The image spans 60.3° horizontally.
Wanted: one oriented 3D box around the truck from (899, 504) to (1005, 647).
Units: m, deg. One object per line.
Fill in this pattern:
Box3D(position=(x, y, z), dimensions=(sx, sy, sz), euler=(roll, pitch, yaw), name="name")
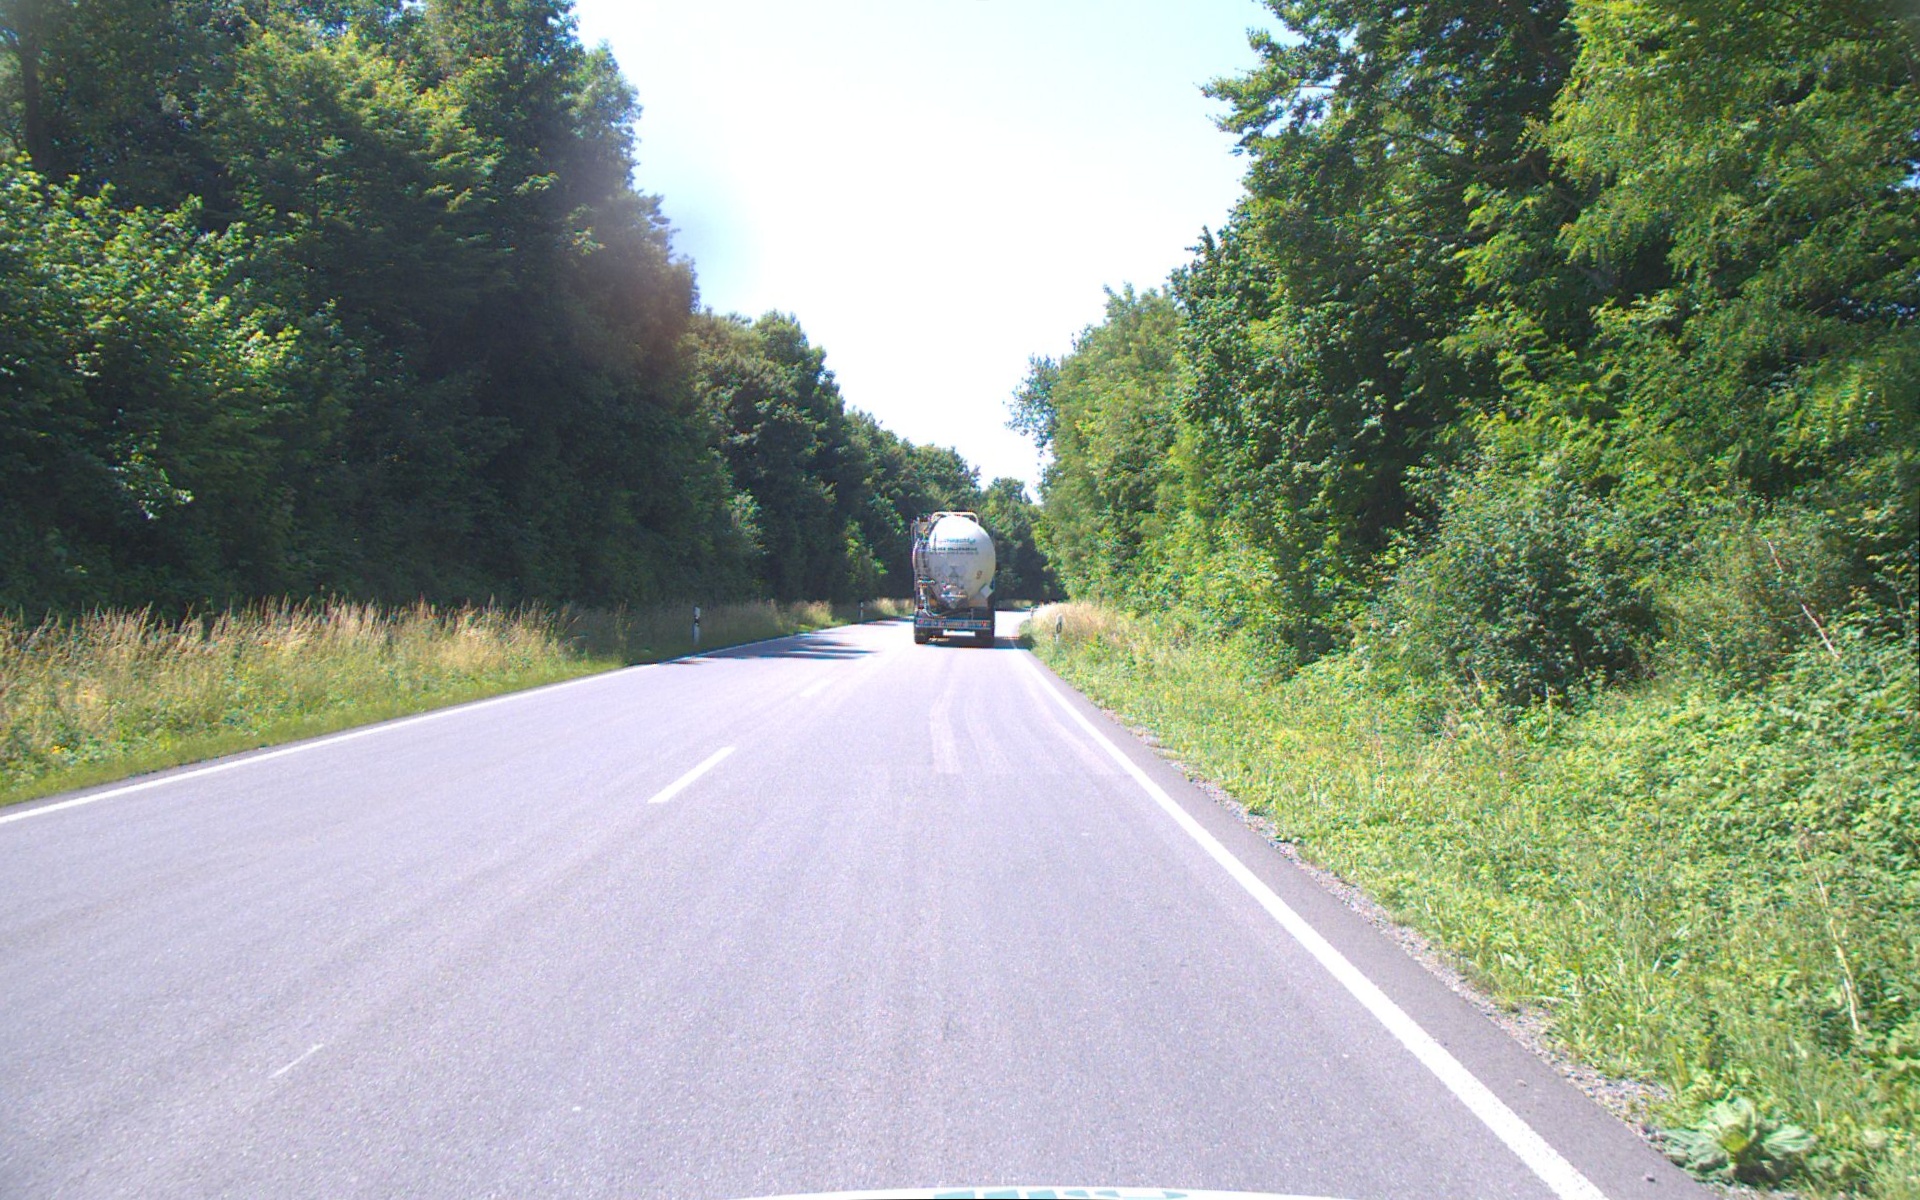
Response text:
Box3D(position=(-0.390, -0.739, 55.772), dimensions=(2.987, 4.068, 15.632), euler=(1, 0, -1), name="truck")
